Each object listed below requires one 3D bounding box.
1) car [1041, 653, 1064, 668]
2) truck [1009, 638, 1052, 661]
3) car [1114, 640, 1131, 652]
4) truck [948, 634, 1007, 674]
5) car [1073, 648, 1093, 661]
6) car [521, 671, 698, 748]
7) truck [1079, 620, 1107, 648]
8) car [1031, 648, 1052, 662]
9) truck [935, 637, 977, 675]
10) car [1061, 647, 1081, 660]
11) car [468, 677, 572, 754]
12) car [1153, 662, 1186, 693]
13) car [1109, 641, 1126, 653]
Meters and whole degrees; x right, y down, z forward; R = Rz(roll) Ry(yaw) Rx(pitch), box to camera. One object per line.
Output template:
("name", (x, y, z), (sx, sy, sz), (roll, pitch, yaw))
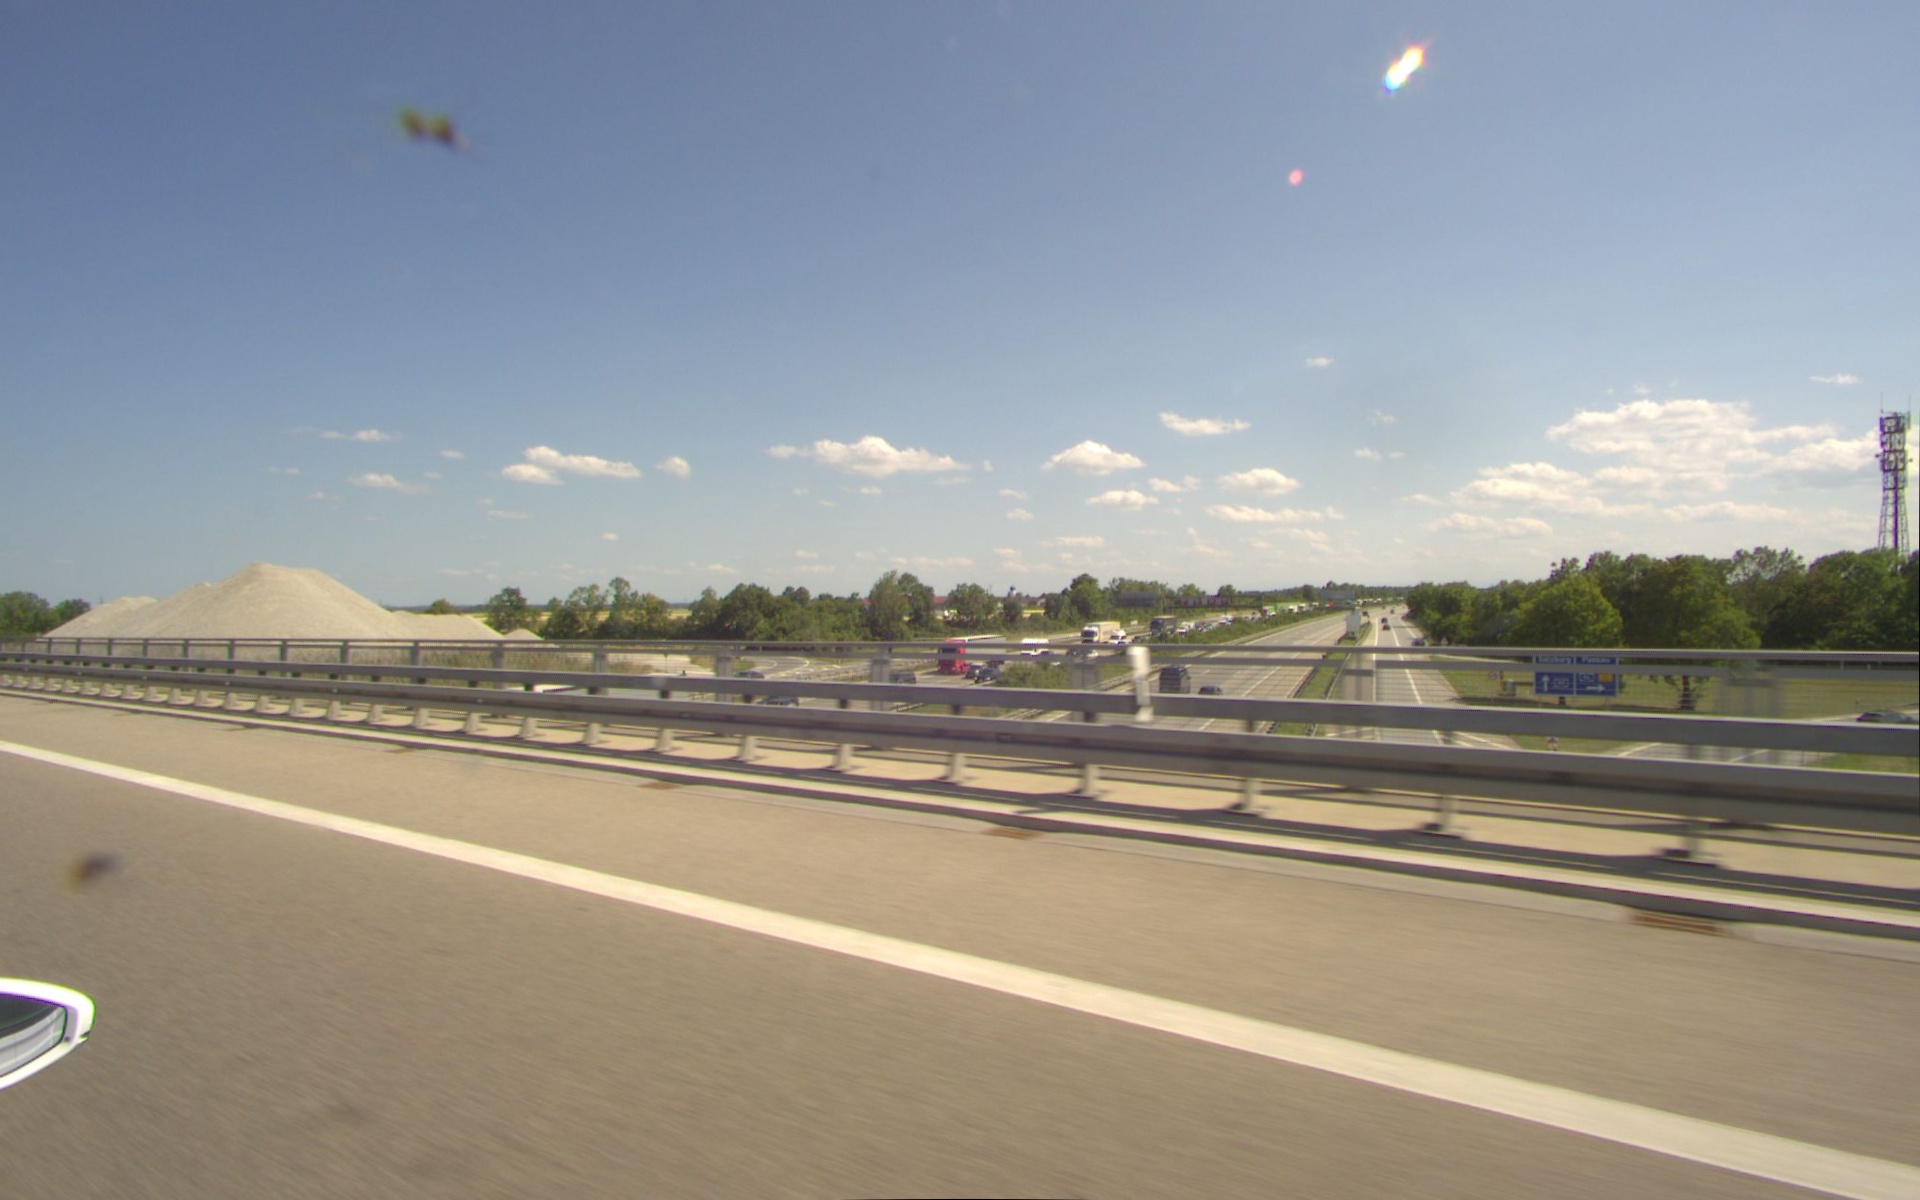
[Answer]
("car", (11.718, 7.597, 126.385), (1.829, 1.757, 4.336), (0, -1, 21))
("truck", (10.304, 7.122, 145.705), (3.099, 3.099, 10.021), (0, -1, 23))
("car", (26.352, 7.452, 161.919), (1.829, 1.757, 4.336), (0, -1, 21))
("truck", (2.316, 6.597, 125.163), (2.822, 4.119, 12.537), (0, 1, 23))
("car", (17.534, 7.765, 142.558), (1.829, 1.757, 4.336), (0, -1, 21))
("car", (-22.089, 6.802, 64.475), (2.442, 4.014, 12.978), (0, -2, 24))
("truck", (23.271, 5.876, 174.903), (3.097, 4.837, 8.224), (0, -1, 22))
("car", (11.266, 7.514, 138.000), (1.829, 1.757, 4.336), (0, -1, 21))
("truck", (-0.460, 6.566, 118.725), (2.822, 4.119, 5.938), (0, 1, 24))
("car", (16.634, 8.042, 149.669), (1.829, 1.757, 4.336), (0, -1, 21))
("car", (-25.196, 6.536, 57.618), (2.442, 4.014, 5.146), (0, -2, 25))
("car", (18.911, 6.924, 90.173), (2.102, 2.479, 5.039), (0, -1, 21))
("car", (27.330, 8.117, 173.733), (1.966, 2.040, 4.685), (0, -1, 21))
